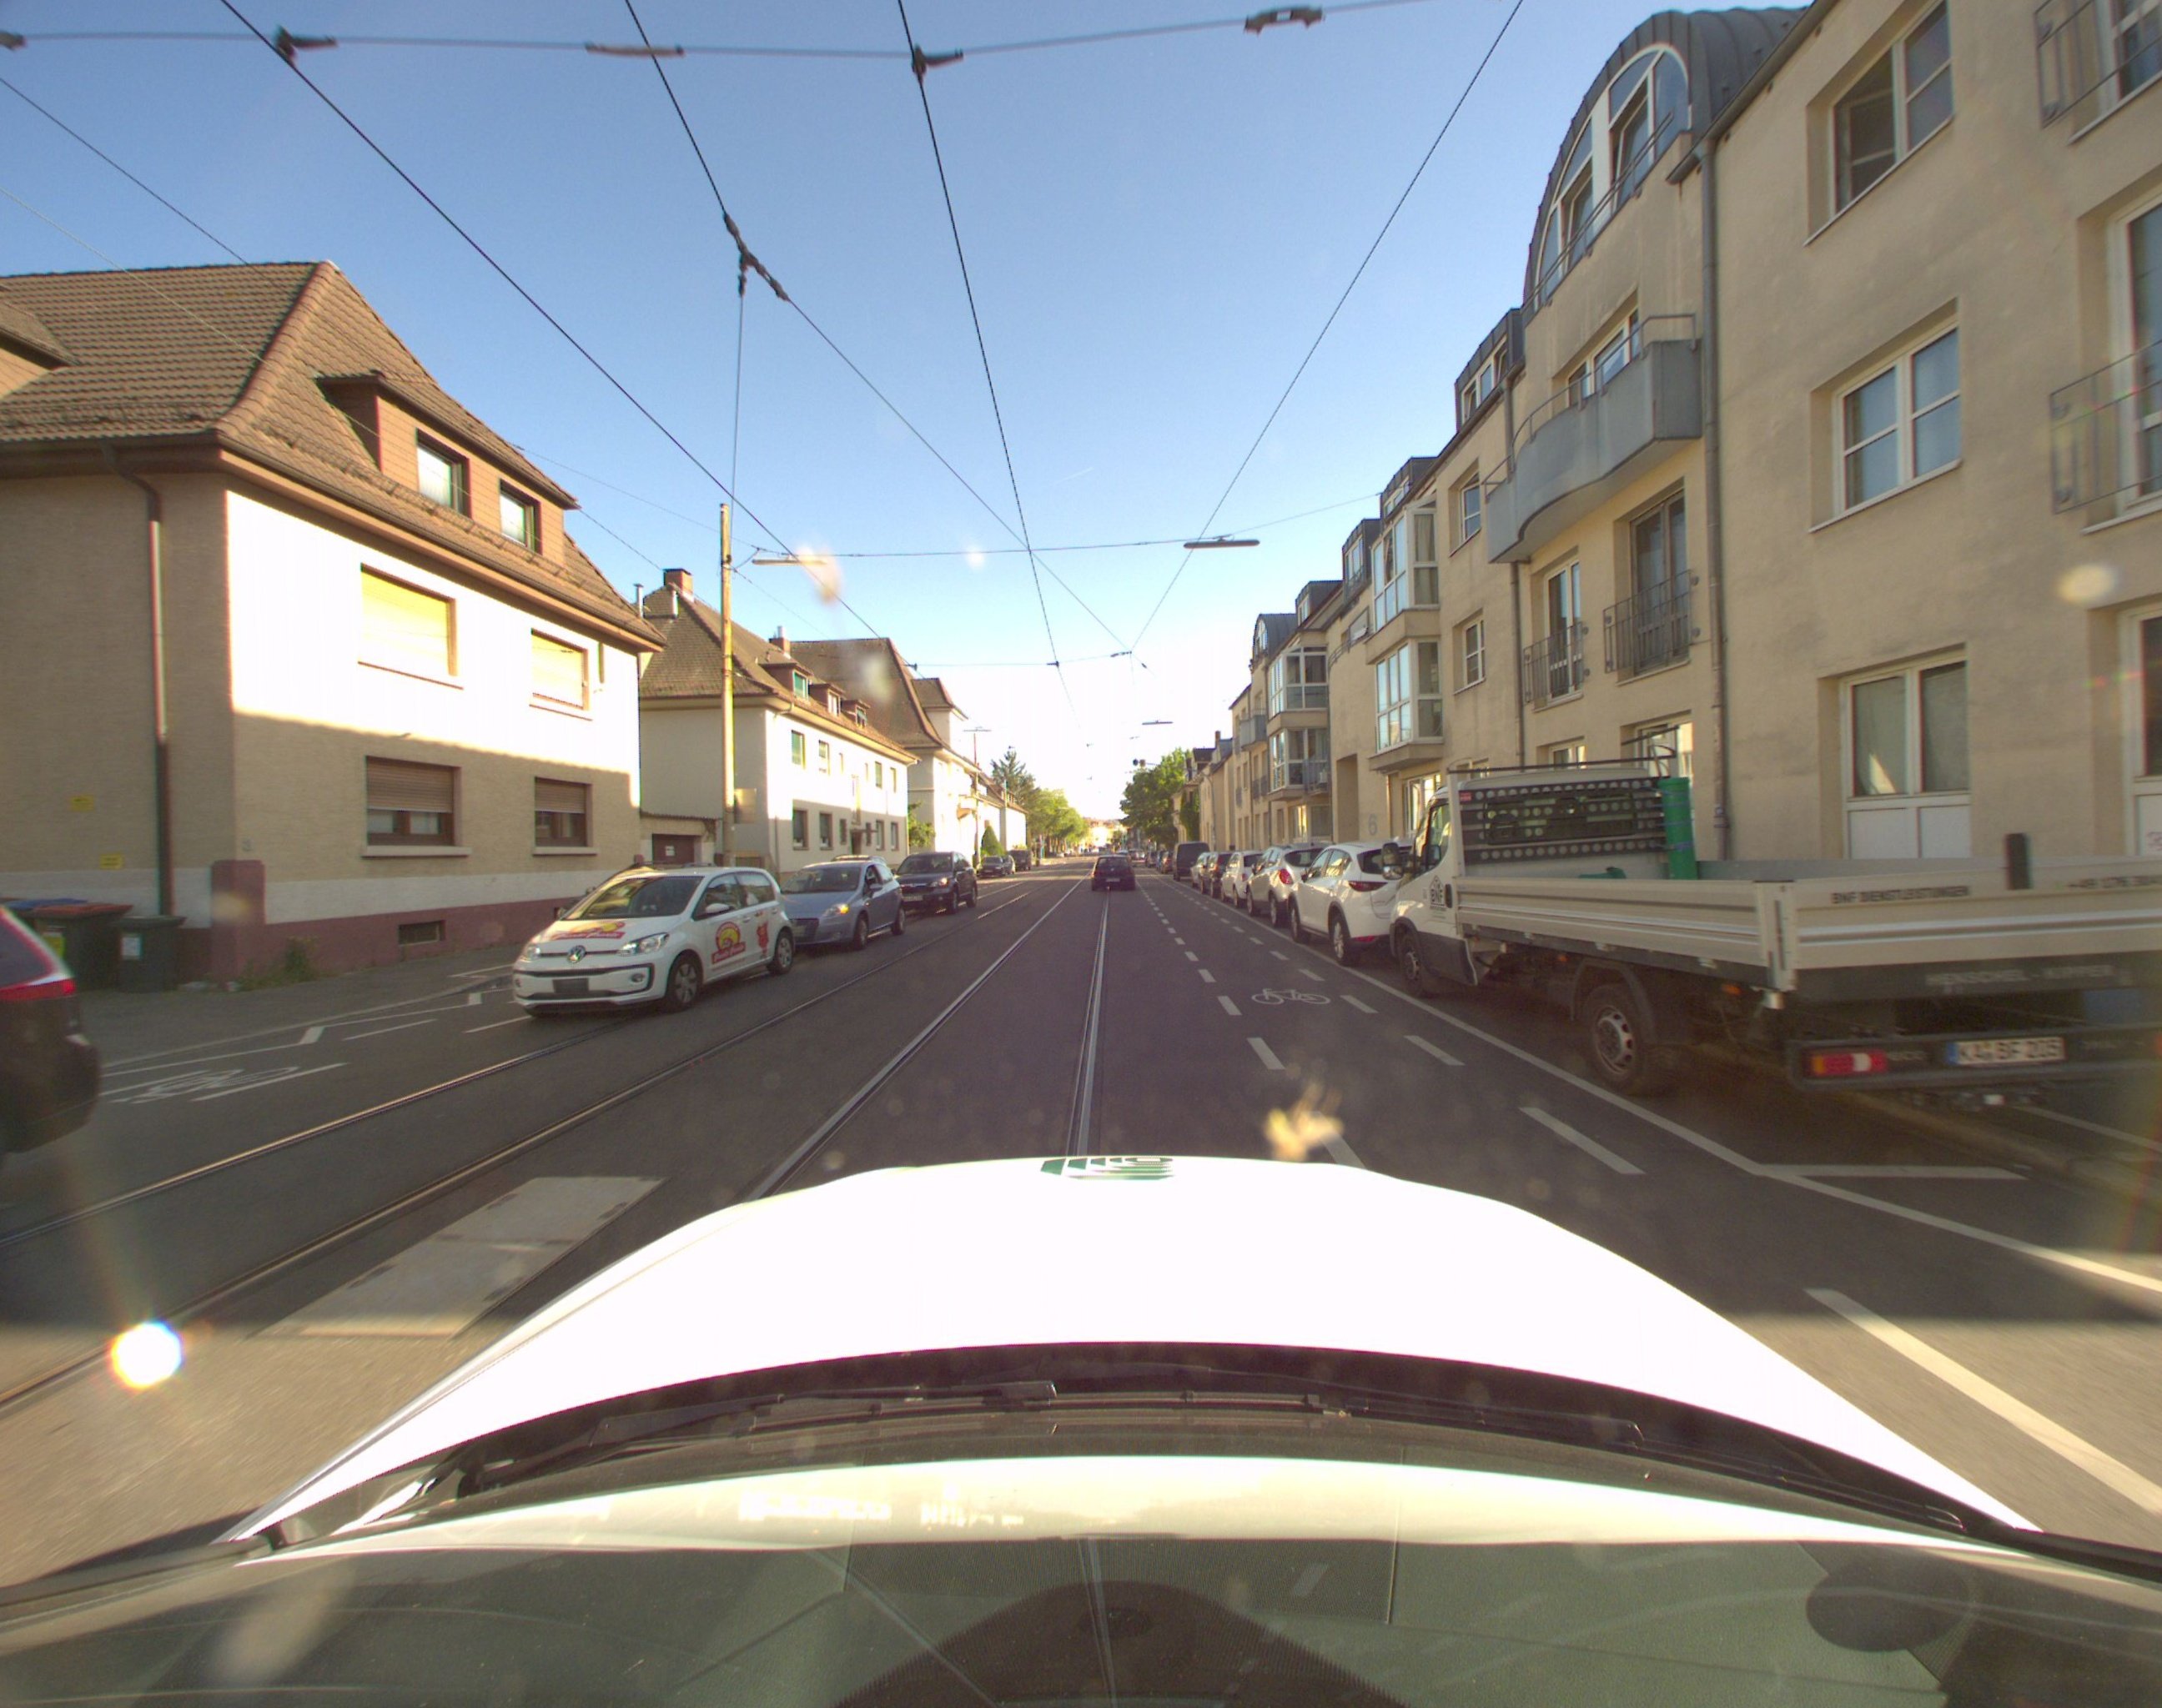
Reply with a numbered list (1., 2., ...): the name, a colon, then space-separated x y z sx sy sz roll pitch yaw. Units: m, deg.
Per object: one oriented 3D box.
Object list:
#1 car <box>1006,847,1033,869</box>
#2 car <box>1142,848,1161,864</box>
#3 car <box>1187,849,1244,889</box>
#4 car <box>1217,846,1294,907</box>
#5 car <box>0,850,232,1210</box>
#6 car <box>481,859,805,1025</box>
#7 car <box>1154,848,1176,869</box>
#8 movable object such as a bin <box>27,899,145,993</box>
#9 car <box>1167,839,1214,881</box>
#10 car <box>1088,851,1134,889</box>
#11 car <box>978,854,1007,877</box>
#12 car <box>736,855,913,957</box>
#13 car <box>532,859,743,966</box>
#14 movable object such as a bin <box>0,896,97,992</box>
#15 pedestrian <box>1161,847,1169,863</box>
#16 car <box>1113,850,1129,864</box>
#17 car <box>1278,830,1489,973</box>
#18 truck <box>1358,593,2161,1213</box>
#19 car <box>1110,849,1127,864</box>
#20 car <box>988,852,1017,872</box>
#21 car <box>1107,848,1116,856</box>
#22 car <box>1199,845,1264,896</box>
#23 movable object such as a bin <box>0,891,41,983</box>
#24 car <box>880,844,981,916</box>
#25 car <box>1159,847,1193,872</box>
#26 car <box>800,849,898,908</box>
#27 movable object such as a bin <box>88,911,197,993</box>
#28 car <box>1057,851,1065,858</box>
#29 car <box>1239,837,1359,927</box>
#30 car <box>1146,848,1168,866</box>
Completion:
1. car: -5.795 0.373 77.457 1.898 2.014 4.953 0 0 3
2. car: 6.908 0.216 80.117 1.659 1.564 3.773 0 0 2
3. car: 5.296 0.547 32.525 1.671 1.491 4.174 0 0 1
4. car: 4.763 0.565 22.557 1.491 1.557 3.366 0 0 1
5. car: -5.837 0.833 2.264 1.730 1.611 4.720 -3 0 4
6. car: -4.738 0.840 9.456 1.576 1.461 3.617 -3 0 3
7. car: 6.490 0.306 63.097 1.452 1.599 3.294 0 0 0
8. movable object such as a bin: -12.400 1.133 10.172 0.613 1.080 0.672 1 0 2
9. car: 5.527 0.265 41.521 1.899 1.987 4.564 0 0 1
10. car: 1.225 0.587 32.731 1.709 1.402 4.008 -1 0 2
11. car: -6.113 0.763 56.782 1.658 1.477 4.248 -1 0 -2
12. car: -4.319 0.791 14.406 1.611 1.461 4.077 -3 0 2
13. car: -7.984 0.952 15.127 1.609 1.627 3.922 -3 0 1
14. movable object such as a bin: -13.072 1.106 10.206 0.639 1.111 0.672 1 0 2
15. pedestrian: 8.731 0.085 84.849 0.715 1.688 0.870 -3 0 1
16. car: 4.419 0.283 90.666 1.733 1.441 3.812 -1 0 2
17. car: 4.248 0.570 12.183 1.732 1.746 4.258 0 0 2
18. truck: 4.256 0.171 6.354 2.286 2.477 6.150 -1 0 2
19. car: 3.741 0.221 81.664 1.628 1.372 3.760 -2 0 3
20. car: -6.084 0.609 63.551 1.670 1.477 3.837 0 0 2
21. car: 6.930 -0.454 185.876 1.781 1.859 4.000 1 0 1
22. car: 4.863 0.501 26.762 1.548 1.557 3.653 0 0 1
23. movable object such as a bin: -13.718 1.042 10.211 0.567 1.111 0.590 1 0 2
24. car: -3.986 0.633 22.270 1.697 1.704 4.366 -3 0 2
25. car: 6.150 0.343 53.338 1.738 1.599 4.433 0 0 0
26. car: -7.554 0.731 26.973 1.755 1.704 4.557 -3 0 1
27. movable object such as a bin: -11.723 1.212 10.189 0.655 0.944 0.582 1 0 1
28. car: -4.220 0.030 174.953 1.572 1.477 3.436 -2 0 -4
29. car: 4.549 0.518 17.526 1.596 1.700 3.991 0 0 1
30. car: 6.668 0.279 71.704 1.596 1.525 3.549 0 0 0
